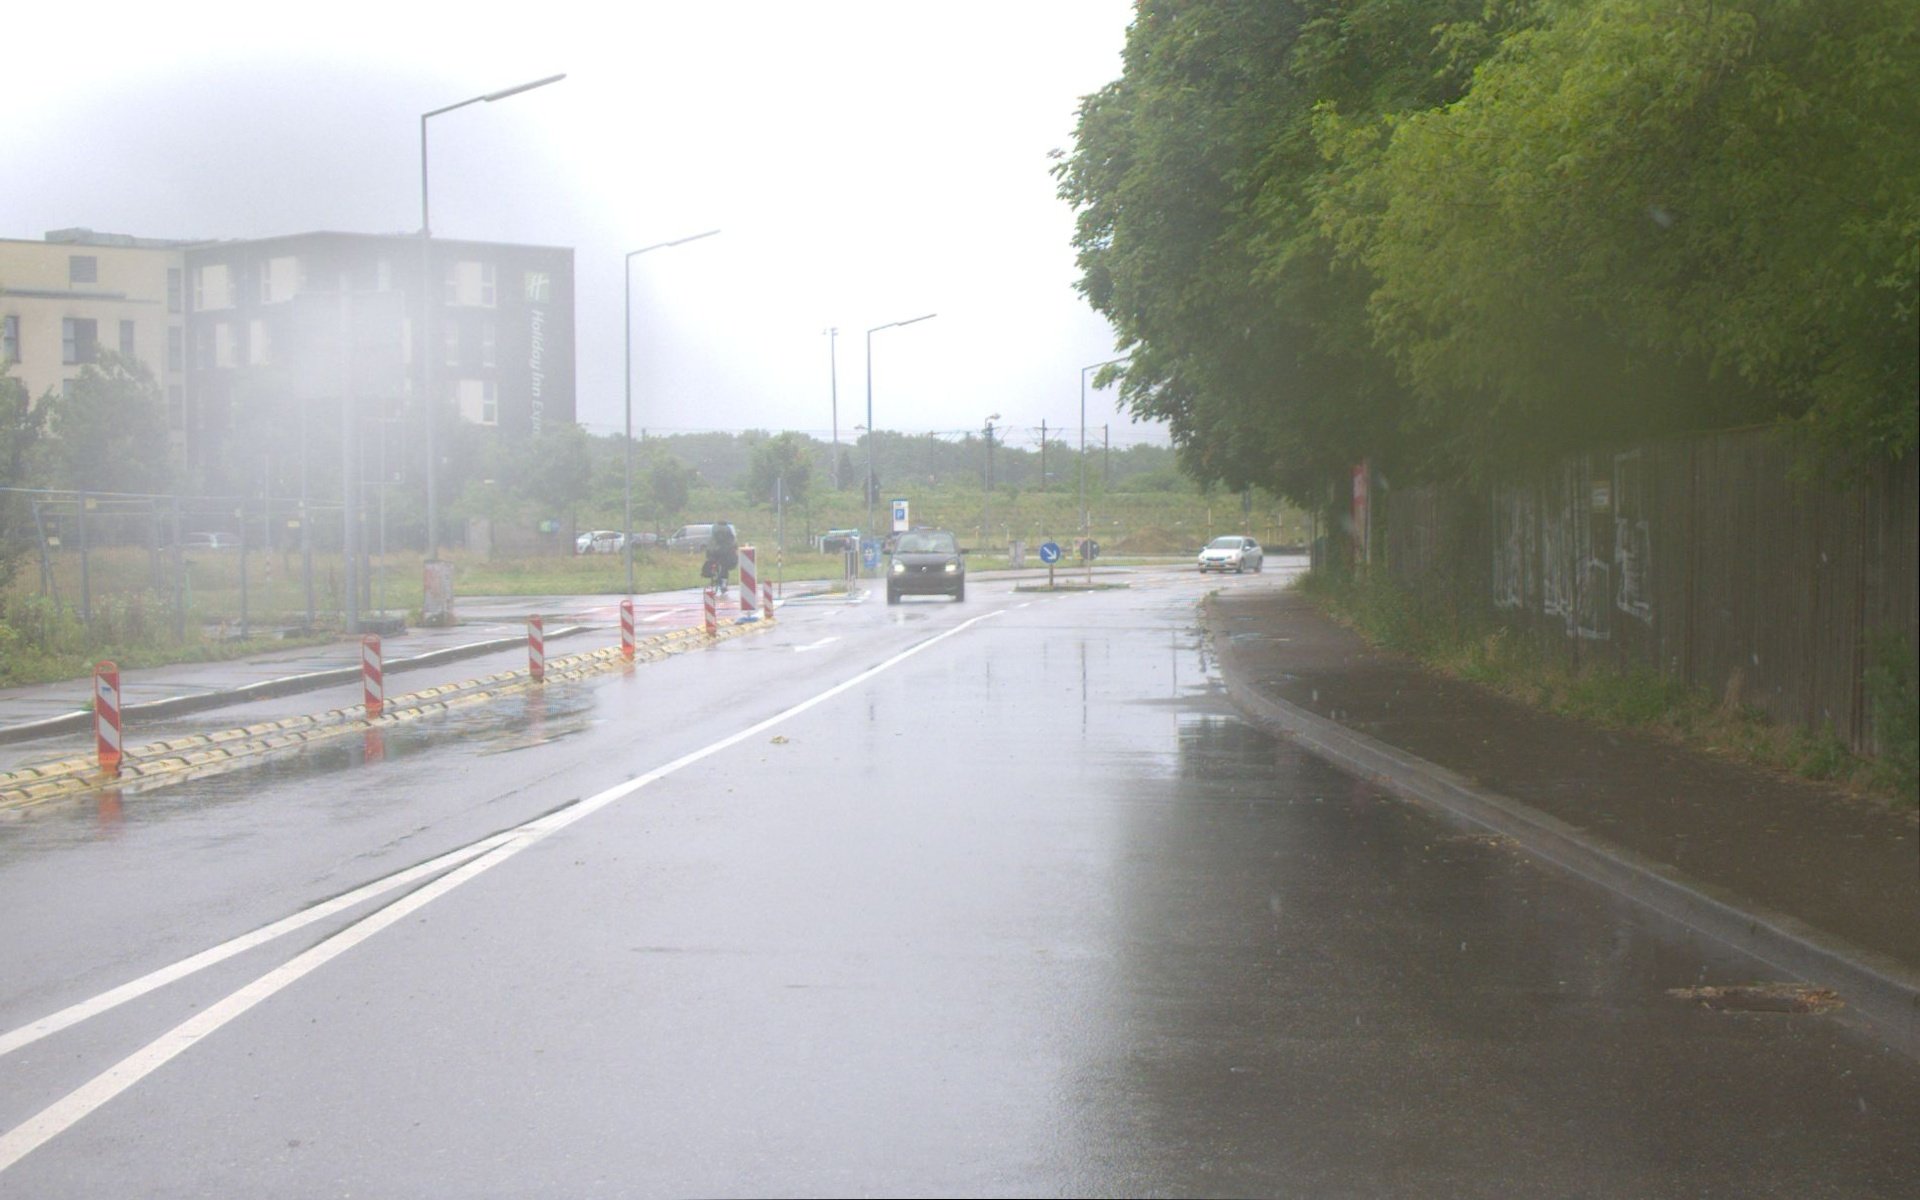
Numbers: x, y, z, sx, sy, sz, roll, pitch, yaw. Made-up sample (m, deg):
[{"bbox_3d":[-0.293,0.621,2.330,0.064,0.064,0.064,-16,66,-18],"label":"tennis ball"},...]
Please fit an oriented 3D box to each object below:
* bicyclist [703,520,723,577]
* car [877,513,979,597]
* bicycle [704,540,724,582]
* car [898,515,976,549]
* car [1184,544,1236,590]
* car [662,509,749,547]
[{"bbox_3d":[-6.053,-1.262,84.305,0.444,1.399,0.550,0,-1,0],"label":"bicyclist"},{"bbox_3d":[-0.667,-0.996,75.163,1.994,1.766,4.000,0,1,3],"label":"car"},{"bbox_3d":[-6.017,-0.967,84.194,0.427,1.016,1.612,0,1,-2],"label":"bicycle"},{"bbox_3d":[-1.280,-3.815,192.314,3.988,1.766,1.999,1,-1,-41],"label":"car"},{"bbox_3d":[10.159,-1.322,139.258,1.994,1.766,3.999,0,-1,6],"label":"car"},{"bbox_3d":[-12.908,-3.646,174.162,3.988,1.766,1.999,1,-1,-41],"label":"car"}]
